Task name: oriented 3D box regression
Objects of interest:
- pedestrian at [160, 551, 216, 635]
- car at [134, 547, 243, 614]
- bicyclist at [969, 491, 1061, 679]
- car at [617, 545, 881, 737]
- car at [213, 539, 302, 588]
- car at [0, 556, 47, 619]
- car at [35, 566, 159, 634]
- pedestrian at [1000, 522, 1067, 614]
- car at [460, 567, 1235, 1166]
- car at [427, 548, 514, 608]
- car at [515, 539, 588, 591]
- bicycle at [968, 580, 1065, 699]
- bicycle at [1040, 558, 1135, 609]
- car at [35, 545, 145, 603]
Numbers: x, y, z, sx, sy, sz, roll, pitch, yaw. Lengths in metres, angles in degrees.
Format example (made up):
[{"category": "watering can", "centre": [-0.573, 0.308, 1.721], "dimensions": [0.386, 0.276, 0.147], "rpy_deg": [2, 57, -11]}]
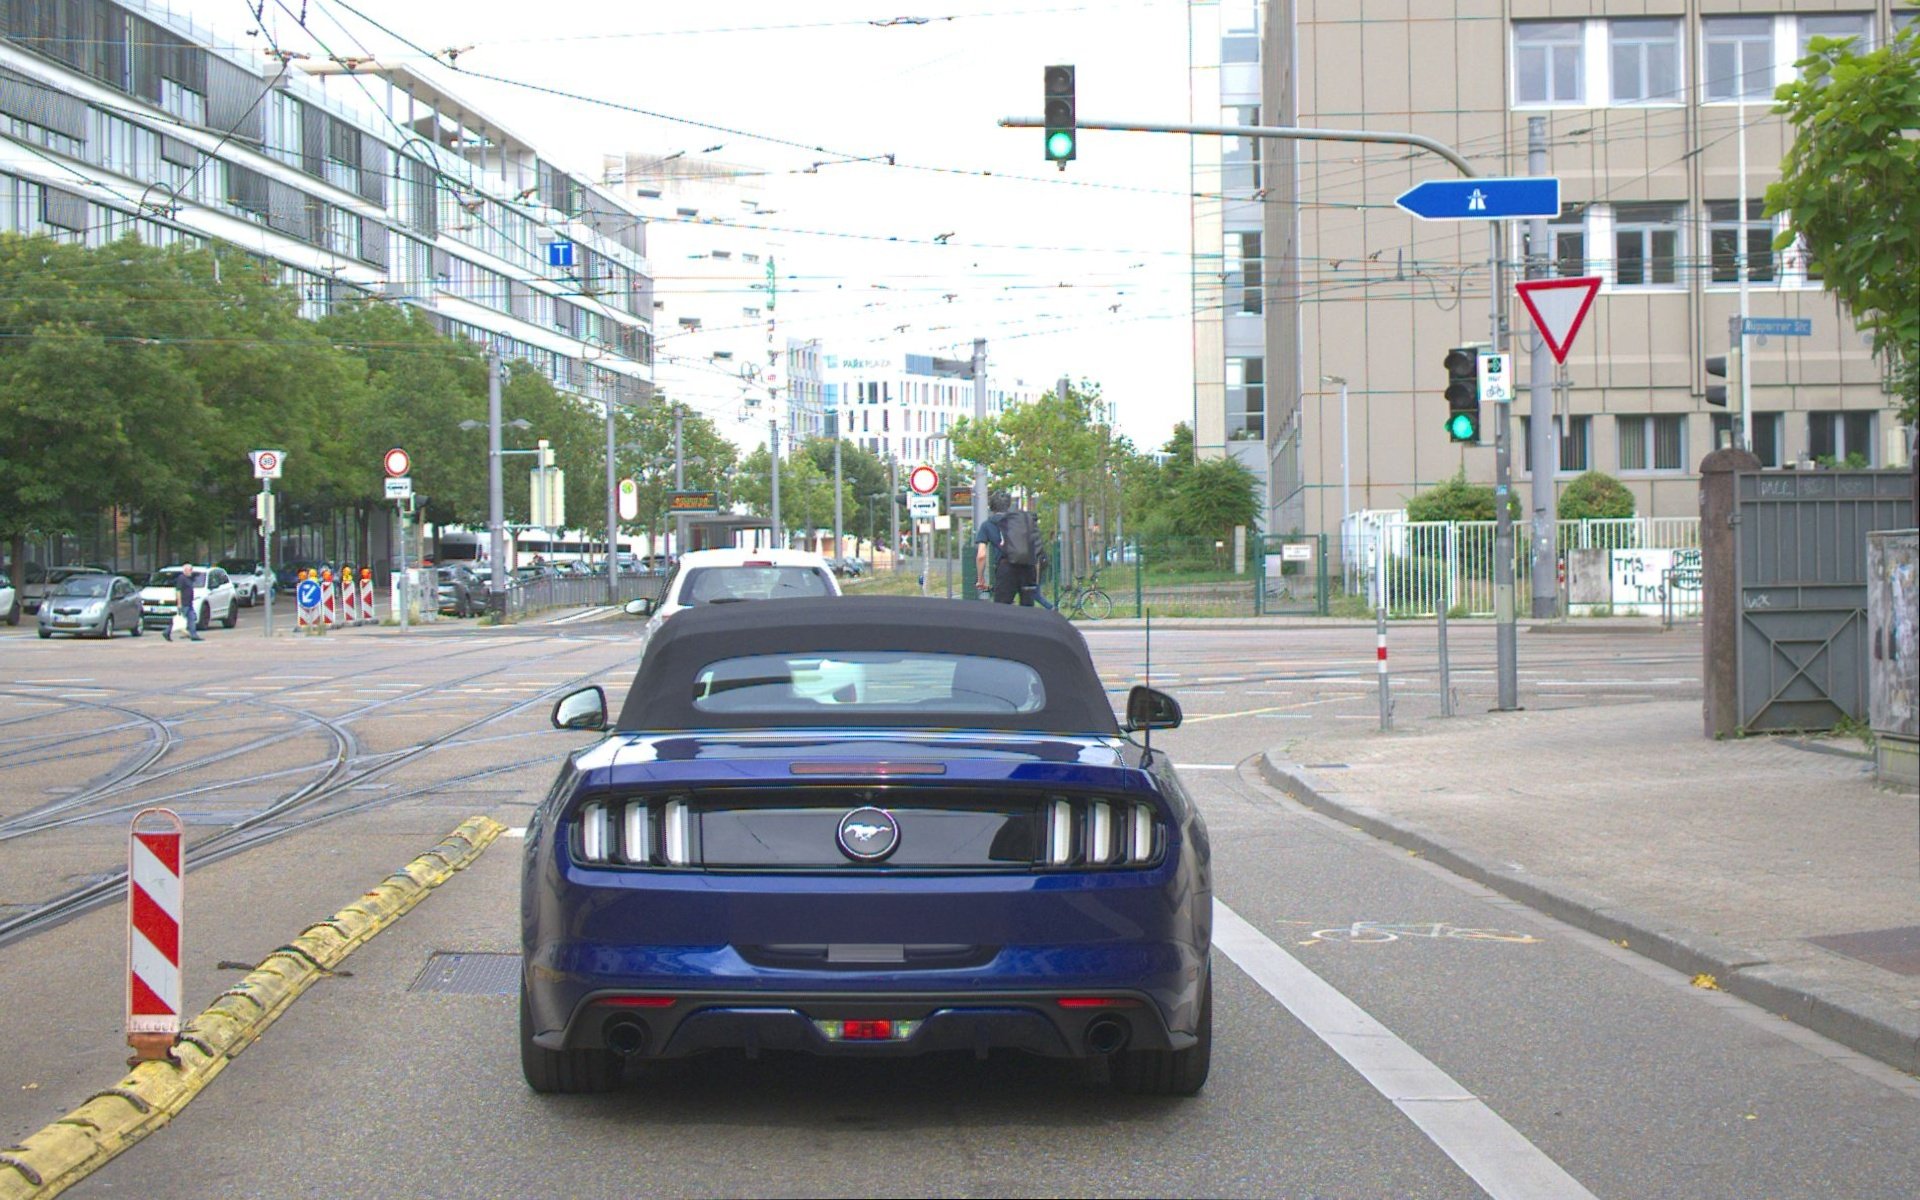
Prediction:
[{"category": "pedestrian", "centre": [-17.158, -0.158, 76.433], "dimensions": [0.989, 1.849, 0.902], "rpy_deg": [-1, 1, 2]}, {"category": "car", "centre": [-20.284, -0.528, 90.520], "dimensions": [1.715, 1.654, 4.133], "rpy_deg": [1, 1, 3]}, {"category": "bicyclist", "centre": [0.520, -0.153, 33.256], "dimensions": [0.796, 1.779, 1.233], "rpy_deg": [-1, 1, -2]}, {"category": "car", "centre": [-1.817, 0.277, 28.408], "dimensions": [1.835, 1.434, 4.188], "rpy_deg": [-1, 1, -8]}, {"category": "car", "centre": [-23.684, -1.238, 116.032], "dimensions": [1.986, 1.551, 4.512], "rpy_deg": [1, 1, 1]}, {"category": "car", "centre": [-25.617, -0.353, 90.485], "dimensions": [1.830, 1.551, 4.216], "rpy_deg": [1, 1, 3]}, {"category": "car", "centre": [-20.733, -0.024, 82.747], "dimensions": [1.668, 1.501, 4.234], "rpy_deg": [1, 1, 3]}, {"category": "pedestrian", "centre": [1.540, -0.671, 71.923], "dimensions": [1.088, 1.891, 0.900], "rpy_deg": [0, 1, 32]}, {"category": "car", "centre": [-0.288, 0.633, 10.551], "dimensions": [1.876, 1.399, 4.282], "rpy_deg": [1, 1, 0]}, {"category": "car", "centre": [-13.773, -0.642, 96.883], "dimensions": [1.879, 1.623, 4.087], "rpy_deg": [-1, 1, -1]}, {"category": "car", "centre": [-13.098, -1.142, 110.471], "dimensions": [1.868, 1.600, 4.213], "rpy_deg": [-1, 1, -1]}, {"category": "bicycle", "centre": [0.535, 0.364, 33.291], "dimensions": [0.800, 1.083, 2.132], "rpy_deg": [-1, 1, -2]}, {"category": "bicycle", "centre": [2.674, -0.341, 72.323], "dimensions": [0.632, 0.977, 2.157], "rpy_deg": [-2, -1, -42]}, {"category": "car", "centre": [-24.695, -0.761, 97.700], "dimensions": [1.830, 1.551, 4.216], "rpy_deg": [1, 1, 3]}]
